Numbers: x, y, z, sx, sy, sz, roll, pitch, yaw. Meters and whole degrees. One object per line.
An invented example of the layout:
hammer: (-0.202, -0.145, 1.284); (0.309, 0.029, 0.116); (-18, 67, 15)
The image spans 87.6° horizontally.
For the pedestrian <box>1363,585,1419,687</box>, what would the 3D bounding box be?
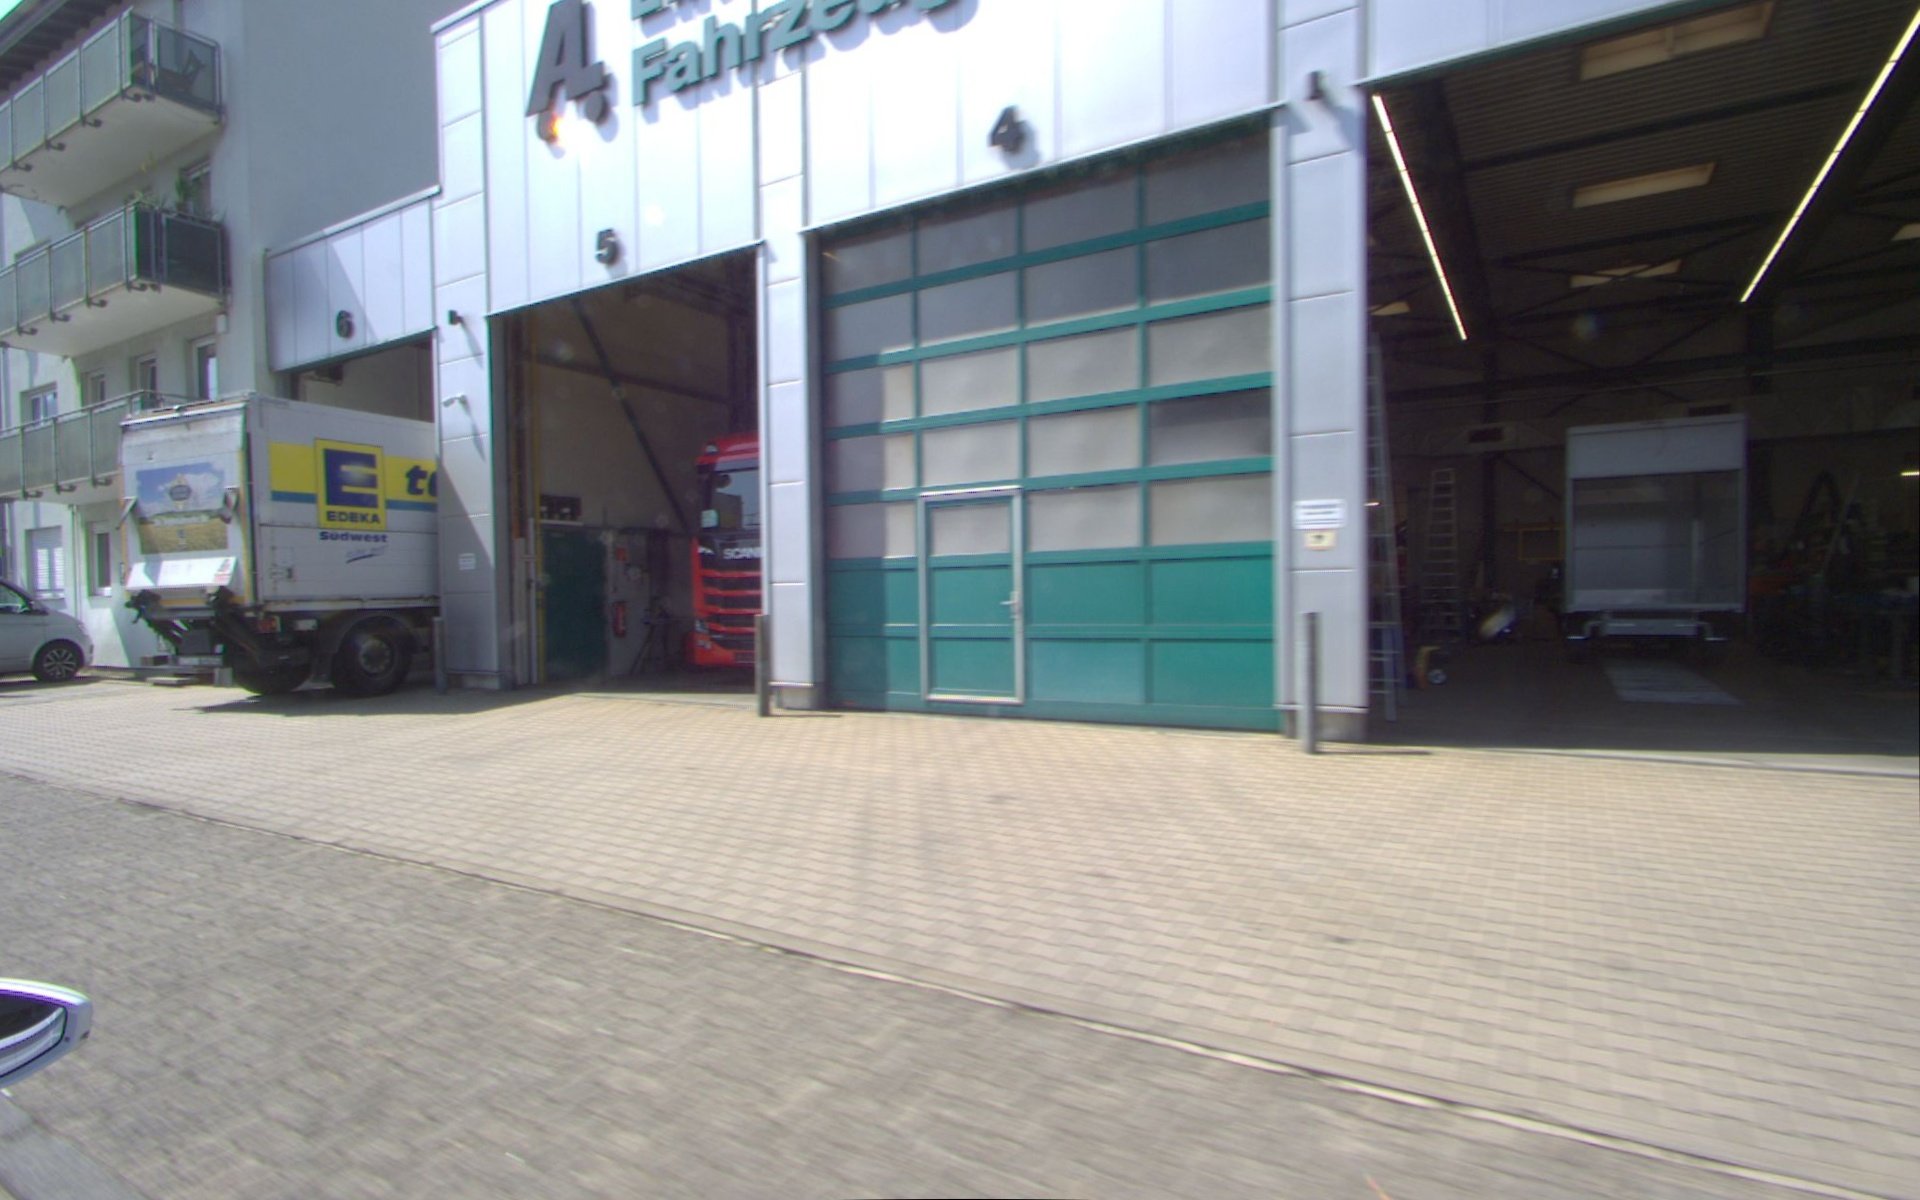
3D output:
pedestrian: (5.138, 0.421, 11.952); (0.486, 1.186, 0.611); (-1, 2, 10)

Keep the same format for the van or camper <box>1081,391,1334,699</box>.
van or camper: (3.496, -0.572, 13.258); (1.970, 3.248, 5.036); (-1, 0, 29)

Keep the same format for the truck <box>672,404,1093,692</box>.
truck: (-0.665, -0.685, 16.041); (2.444, 3.450, 7.932); (0, 1, 32)

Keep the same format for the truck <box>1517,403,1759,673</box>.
truck: (11.128, -0.873, 16.983); (2.728, 3.506, 7.538); (0, 1, 31)

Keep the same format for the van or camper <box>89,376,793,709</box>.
van or camper: (-7.183, -0.802, 17.180); (2.734, 3.743, 11.600); (0, 2, 23)

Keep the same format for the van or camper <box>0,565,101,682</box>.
van or camper: (-16.936, 0.396, 16.051); (1.962, 1.933, 4.552); (0, 1, 11)
